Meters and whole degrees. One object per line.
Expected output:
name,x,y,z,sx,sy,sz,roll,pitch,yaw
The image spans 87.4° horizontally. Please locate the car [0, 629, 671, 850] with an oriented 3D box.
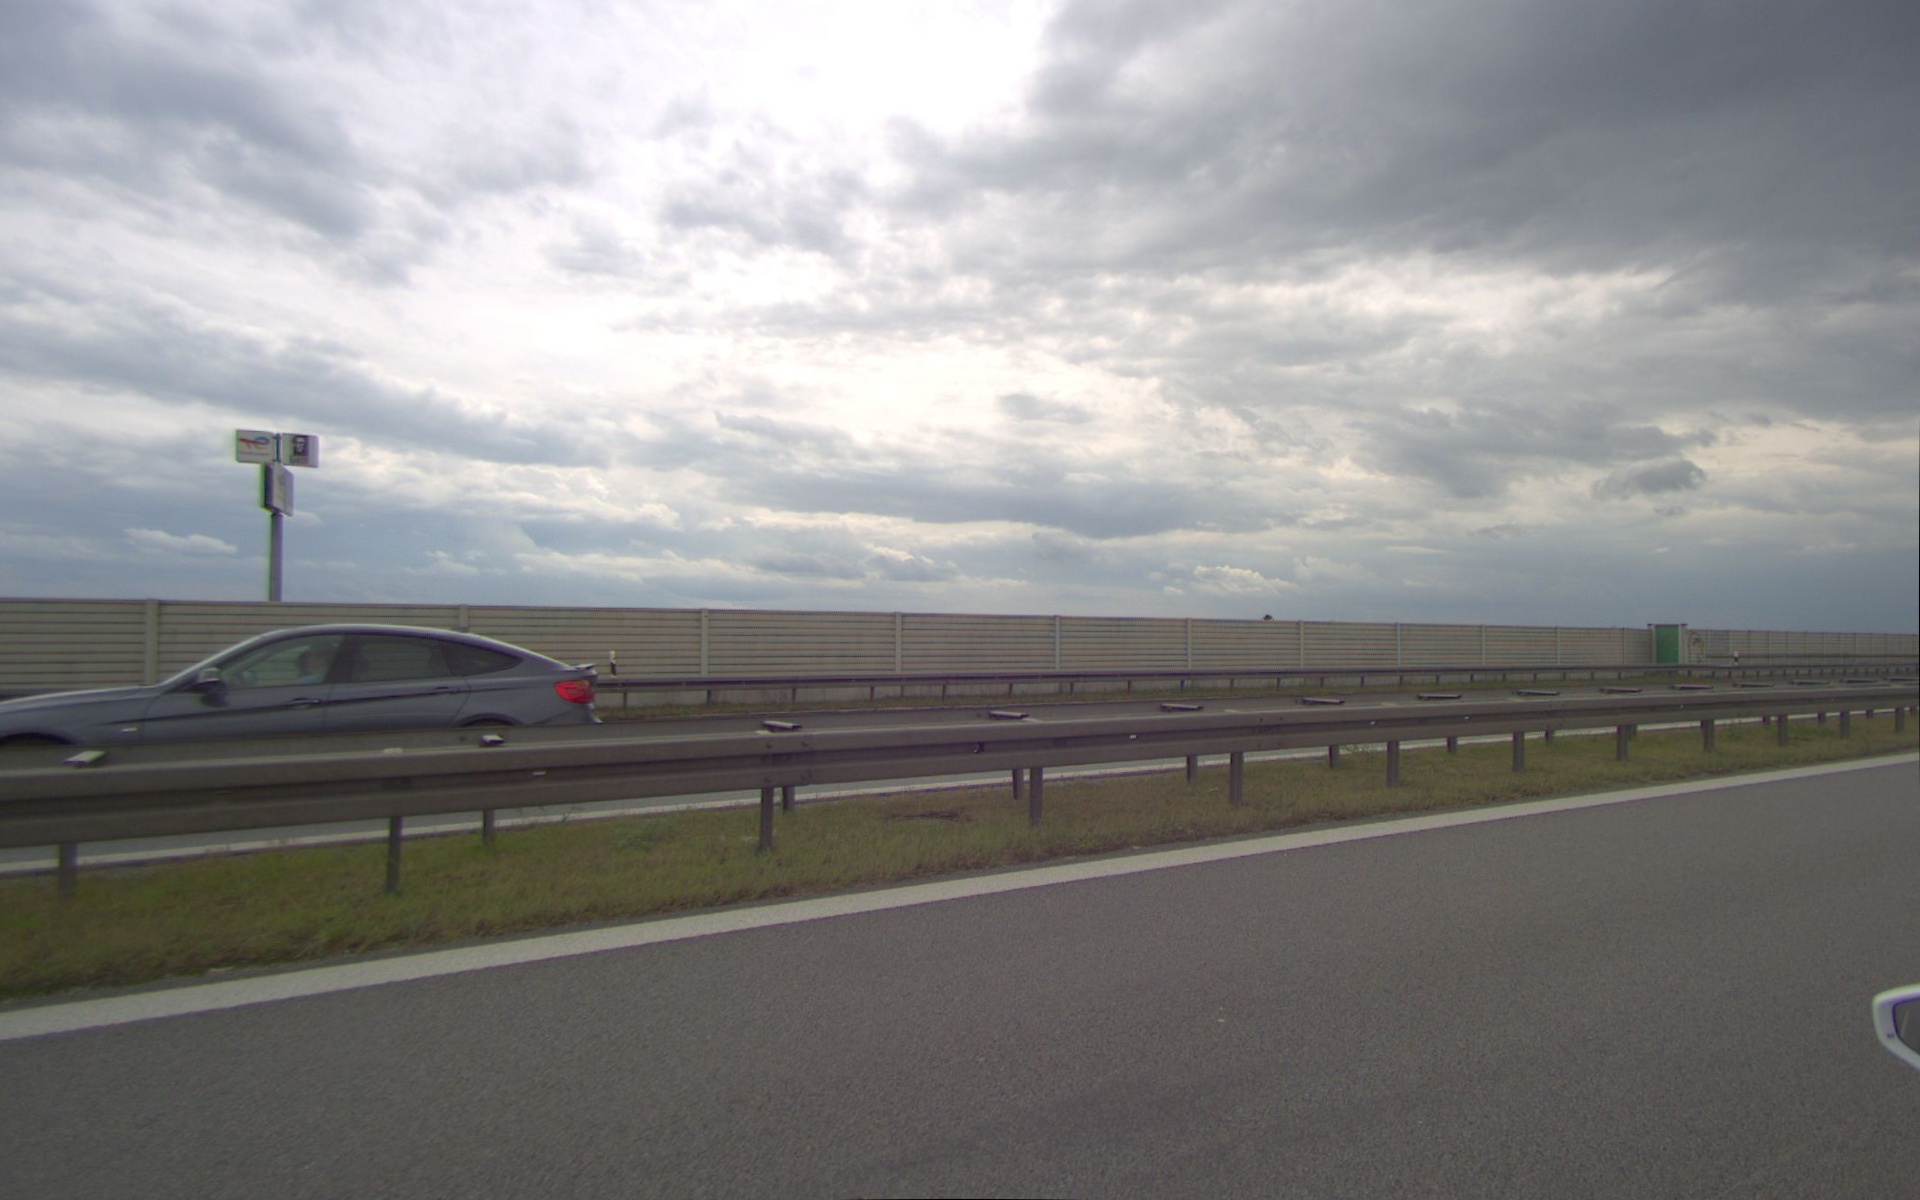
car,-5.263,0.997,8.577,5.113,1.470,1.779,1,-1,-31
